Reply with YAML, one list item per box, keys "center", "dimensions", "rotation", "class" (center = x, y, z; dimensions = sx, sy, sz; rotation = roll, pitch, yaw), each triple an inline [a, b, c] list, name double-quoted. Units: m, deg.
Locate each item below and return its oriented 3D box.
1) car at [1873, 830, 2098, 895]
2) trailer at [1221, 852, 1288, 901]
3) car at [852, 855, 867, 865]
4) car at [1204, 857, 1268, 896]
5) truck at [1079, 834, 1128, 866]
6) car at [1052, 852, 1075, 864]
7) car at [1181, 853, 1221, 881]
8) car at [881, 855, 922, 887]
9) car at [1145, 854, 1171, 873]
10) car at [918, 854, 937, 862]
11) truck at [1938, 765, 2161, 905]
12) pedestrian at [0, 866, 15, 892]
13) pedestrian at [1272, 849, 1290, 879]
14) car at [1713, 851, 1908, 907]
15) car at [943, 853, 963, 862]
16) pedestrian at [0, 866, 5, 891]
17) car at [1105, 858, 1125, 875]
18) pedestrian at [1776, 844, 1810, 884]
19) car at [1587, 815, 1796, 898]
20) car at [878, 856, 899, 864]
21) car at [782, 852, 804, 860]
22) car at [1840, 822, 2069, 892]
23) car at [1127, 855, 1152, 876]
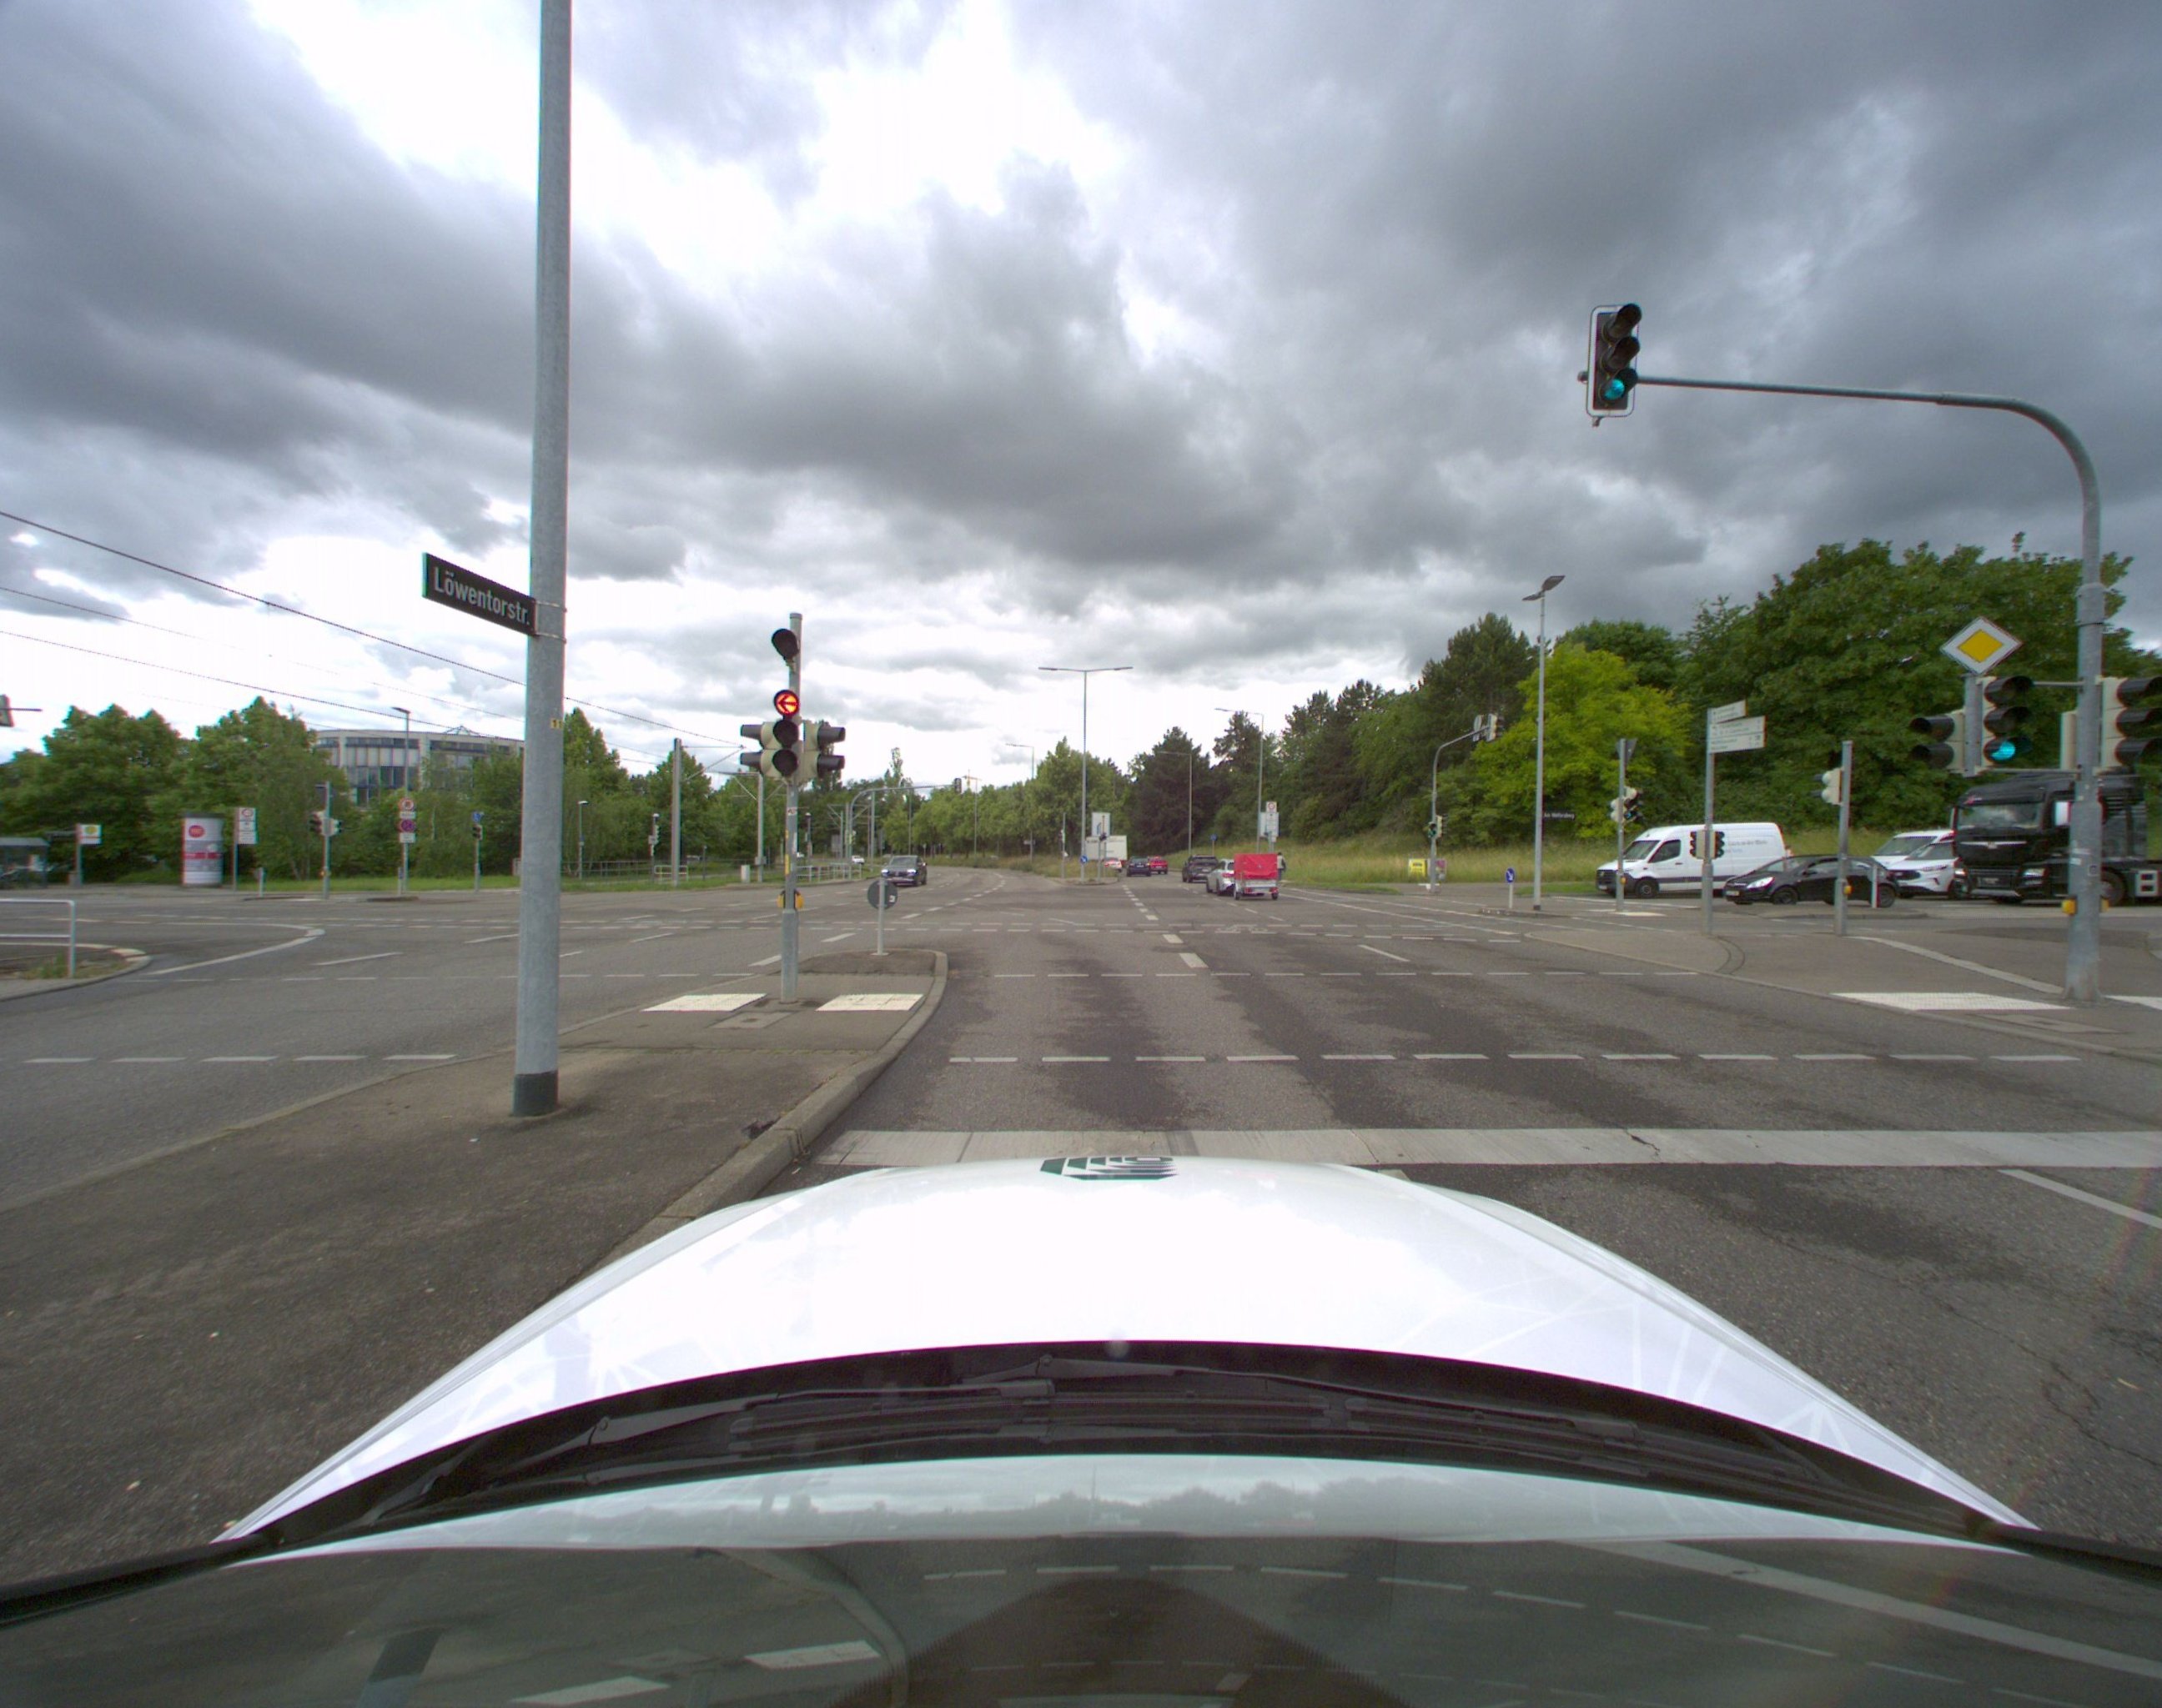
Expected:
- center: [28.536, 0.246, 25.831]
  dimensions: [4.836, 1.896, 2.034]
  rotation: [-1, 0, 1]
  class: "car"
- center: [6.132, 0.755, 29.043]
  dimensions: [1.759, 1.616, 3.044]
  rotation: [0, 0, 0]
  class: "trailer"
- center: [-36.642, 1.024, 134.622]
  dimensions: [1.837, 1.629, 4.390]
  rotation: [-1, 0, -24]
  class: "car"
- center: [6.175, 0.852, 32.804]
  dimensions: [1.772, 1.421, 4.459]
  rotation: [0, 0, 1]
  class: "car"
- center: [2.337, -0.466, 91.556]
  dimensions: [2.743, 3.328, 11.355]
  rotation: [0, 0, -13]
  class: "truck"
- center: [-2.343, 0.552, 105.878]
  dimensions: [1.784, 1.546, 3.998]
  rotation: [-1, 0, -20]
  class: "car"
- center: [6.896, 0.725, 47.081]
  dimensions: [1.772, 1.546, 4.025]
  rotation: [0, 0, 1]
  class: "car"
- center: [-9.356, 0.848, 42.615]
  dimensions: [1.777, 1.546, 4.212]
  rotation: [0, 0, -9]
  class: "car"
- center: [6.607, 0.826, 70.113]
  dimensions: [1.772, 1.546, 4.024]
  rotation: [0, 0, 0]
  class: "car"
- center: [-33.515, 0.847, 177.992]
  dimensions: [1.761, 1.546, 4.050]
  rotation: [0, 0, 32]
  class: "car"
- center: [27.936, -0.517, 22.263]
  dimensions: [6.027, 3.538, 2.729]
  rotation: [-1, 0, 2]
  class: "truck"
- center: [-56.497, 1.302, 42.568]
  dimensions: [0.774, 1.304, 0.666]
  rotation: [0, 0, 15]
  class: "pedestrian"
- center: [11.317, 0.562, 46.069]
  dimensions: [0.811, 1.627, 0.791]
  rotation: [0, 0, 1]
  class: "pedestrian"
- center: [20.282, 0.668, 22.765]
  dimensions: [3.905, 1.436, 1.732]
  rotation: [-1, 0, 1]
  class: "car"
- center: [-22.204, 0.670, 141.004]
  dimensions: [1.792, 1.546, 3.980]
  rotation: [-1, 0, -37]
  class: "car"
- center: [-57.772, 1.297, 43.145]
  dimensions: [0.774, 1.303, 0.666]
  rotation: [0, 0, 15]
  class: "pedestrian"
- center: [3.322, 1.222, 79.645]
  dimensions: [1.772, 1.546, 4.025]
  rotation: [0, 0, 1]
  class: "car"
- center: [30.836, 0.427, 35.280]
  dimensions: [0.785, 1.676, 0.817]
  rotation: [0, 0, 3]
  class: "pedestrian"
- center: [21.899, 0.093, 29.402]
  dimensions: [5.870, 2.781, 2.136]
  rotation: [-1, 0, 2]
  class: "car"
- center: [-37.012, 1.168, 156.745]
  dimensions: [3.973, 1.546, 1.795]
  rotation: [0, 0, 39]
  class: "car"
- center: [-61.259, 0.425, 173.317]
  dimensions: [3.951, 1.750, 2.011]
  rotation: [0, 0, 24]
  class: "car"
- center: [30.684, 0.108, 28.757]
  dimensions: [5.677, 2.289, 2.136]
  rotation: [-1, 0, 2]
  class: "car"
- center: [4.531, 0.851, 62.491]
  dimensions: [1.769, 1.546, 4.031]
  rotation: [0, 0, 5]
  class: "car"
